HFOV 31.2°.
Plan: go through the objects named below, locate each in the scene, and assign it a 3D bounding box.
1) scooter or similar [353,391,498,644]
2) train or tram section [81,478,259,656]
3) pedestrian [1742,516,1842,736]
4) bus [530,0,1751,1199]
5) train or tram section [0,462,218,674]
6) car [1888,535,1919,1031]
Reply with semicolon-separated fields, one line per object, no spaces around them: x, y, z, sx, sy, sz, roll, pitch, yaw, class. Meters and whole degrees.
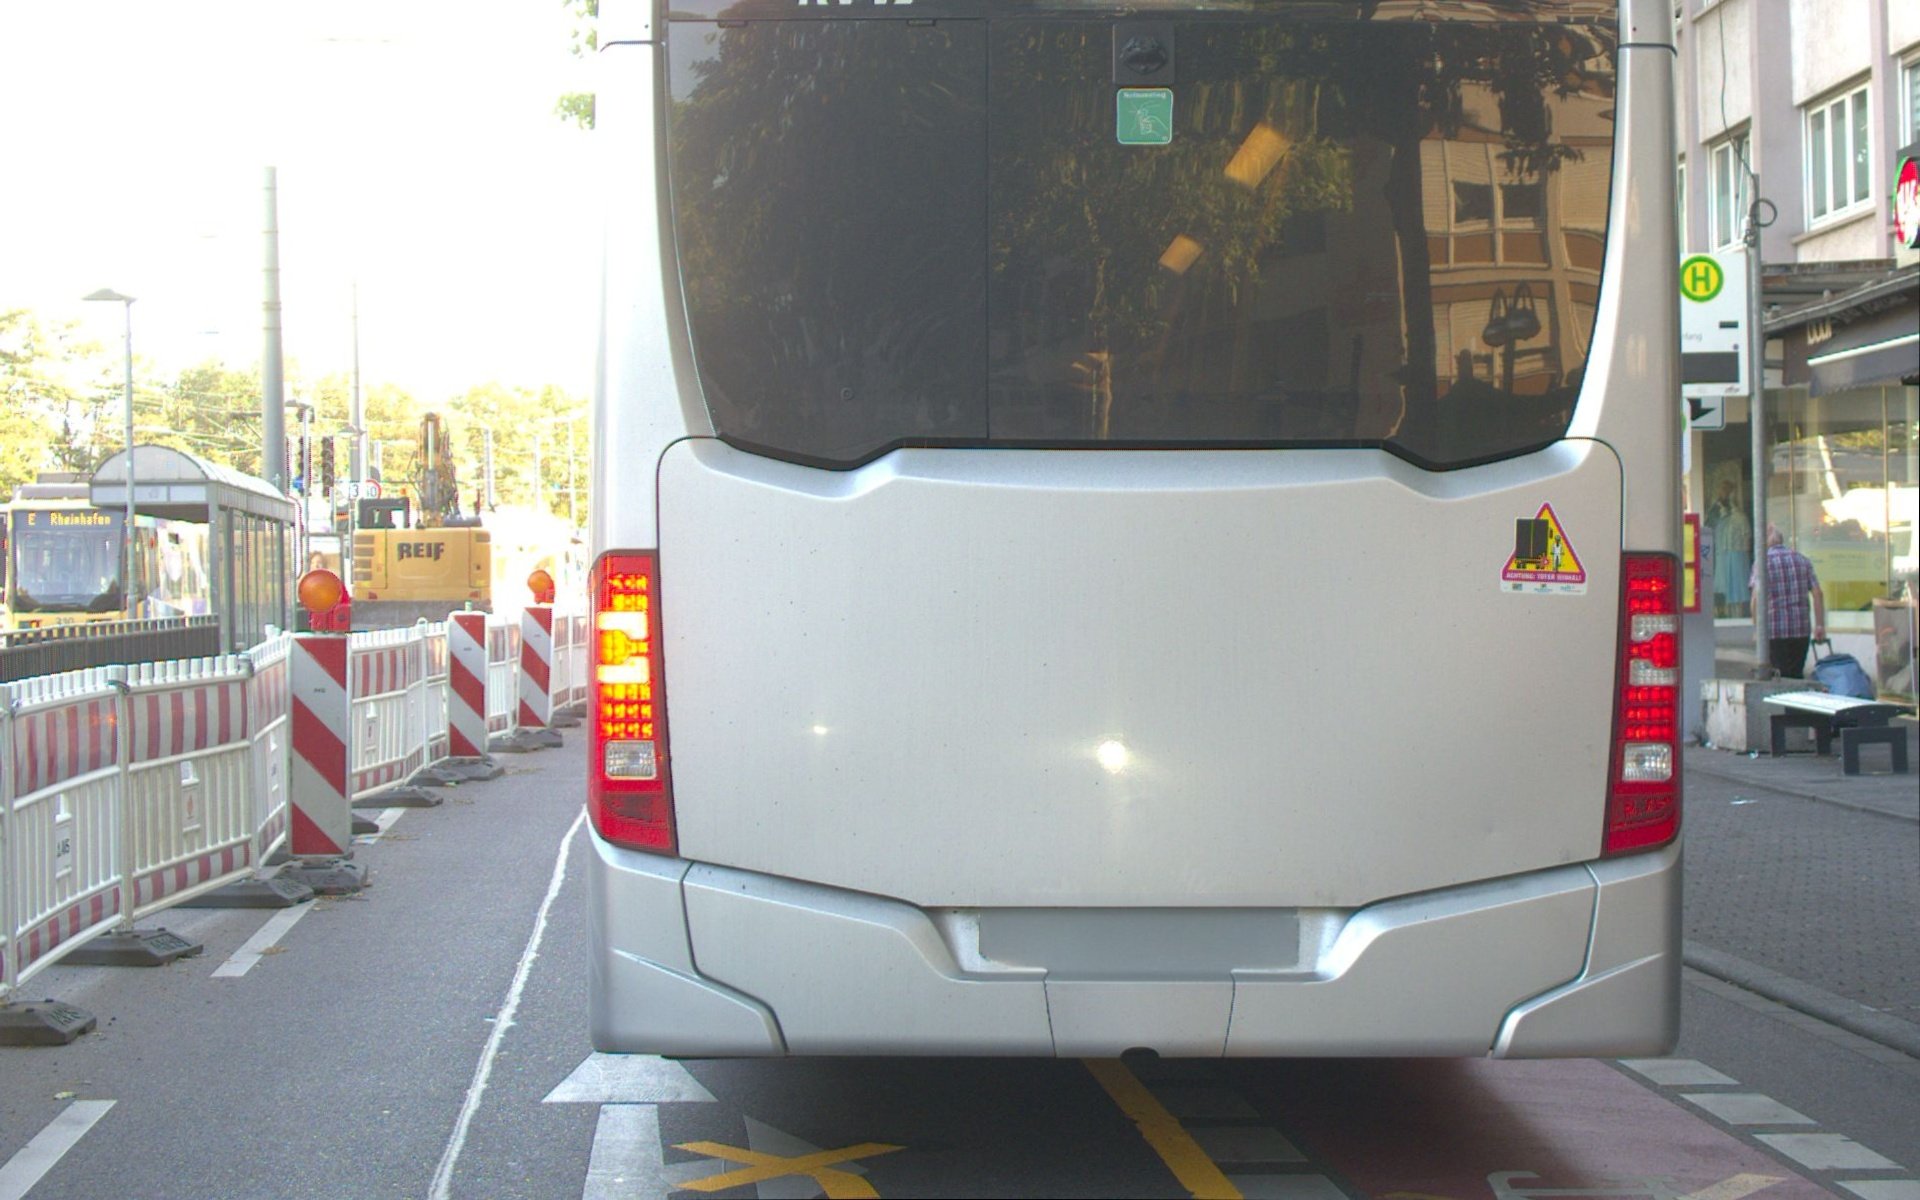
-9.835;-1.479;63.656;2.468;4.455;5.974;-1;0;-8;scooter or similar
-17.111;-0.701;75.112;2.686;3.546;11.584;1;0;-8;train or tram section
6.444;0.199;26.615;0.664;1.661;0.600;-2;0;16;pedestrian
0.367;-0.192;11.482;2.611;3.115;7.993;1;0;0;bus
-15.775;-0.573;63.498;2.686;3.521;11.773;1;0;-6;train or tram section
4.195;0.570;8.947;1.993;1.576;4.369;-3;1;-5;car
